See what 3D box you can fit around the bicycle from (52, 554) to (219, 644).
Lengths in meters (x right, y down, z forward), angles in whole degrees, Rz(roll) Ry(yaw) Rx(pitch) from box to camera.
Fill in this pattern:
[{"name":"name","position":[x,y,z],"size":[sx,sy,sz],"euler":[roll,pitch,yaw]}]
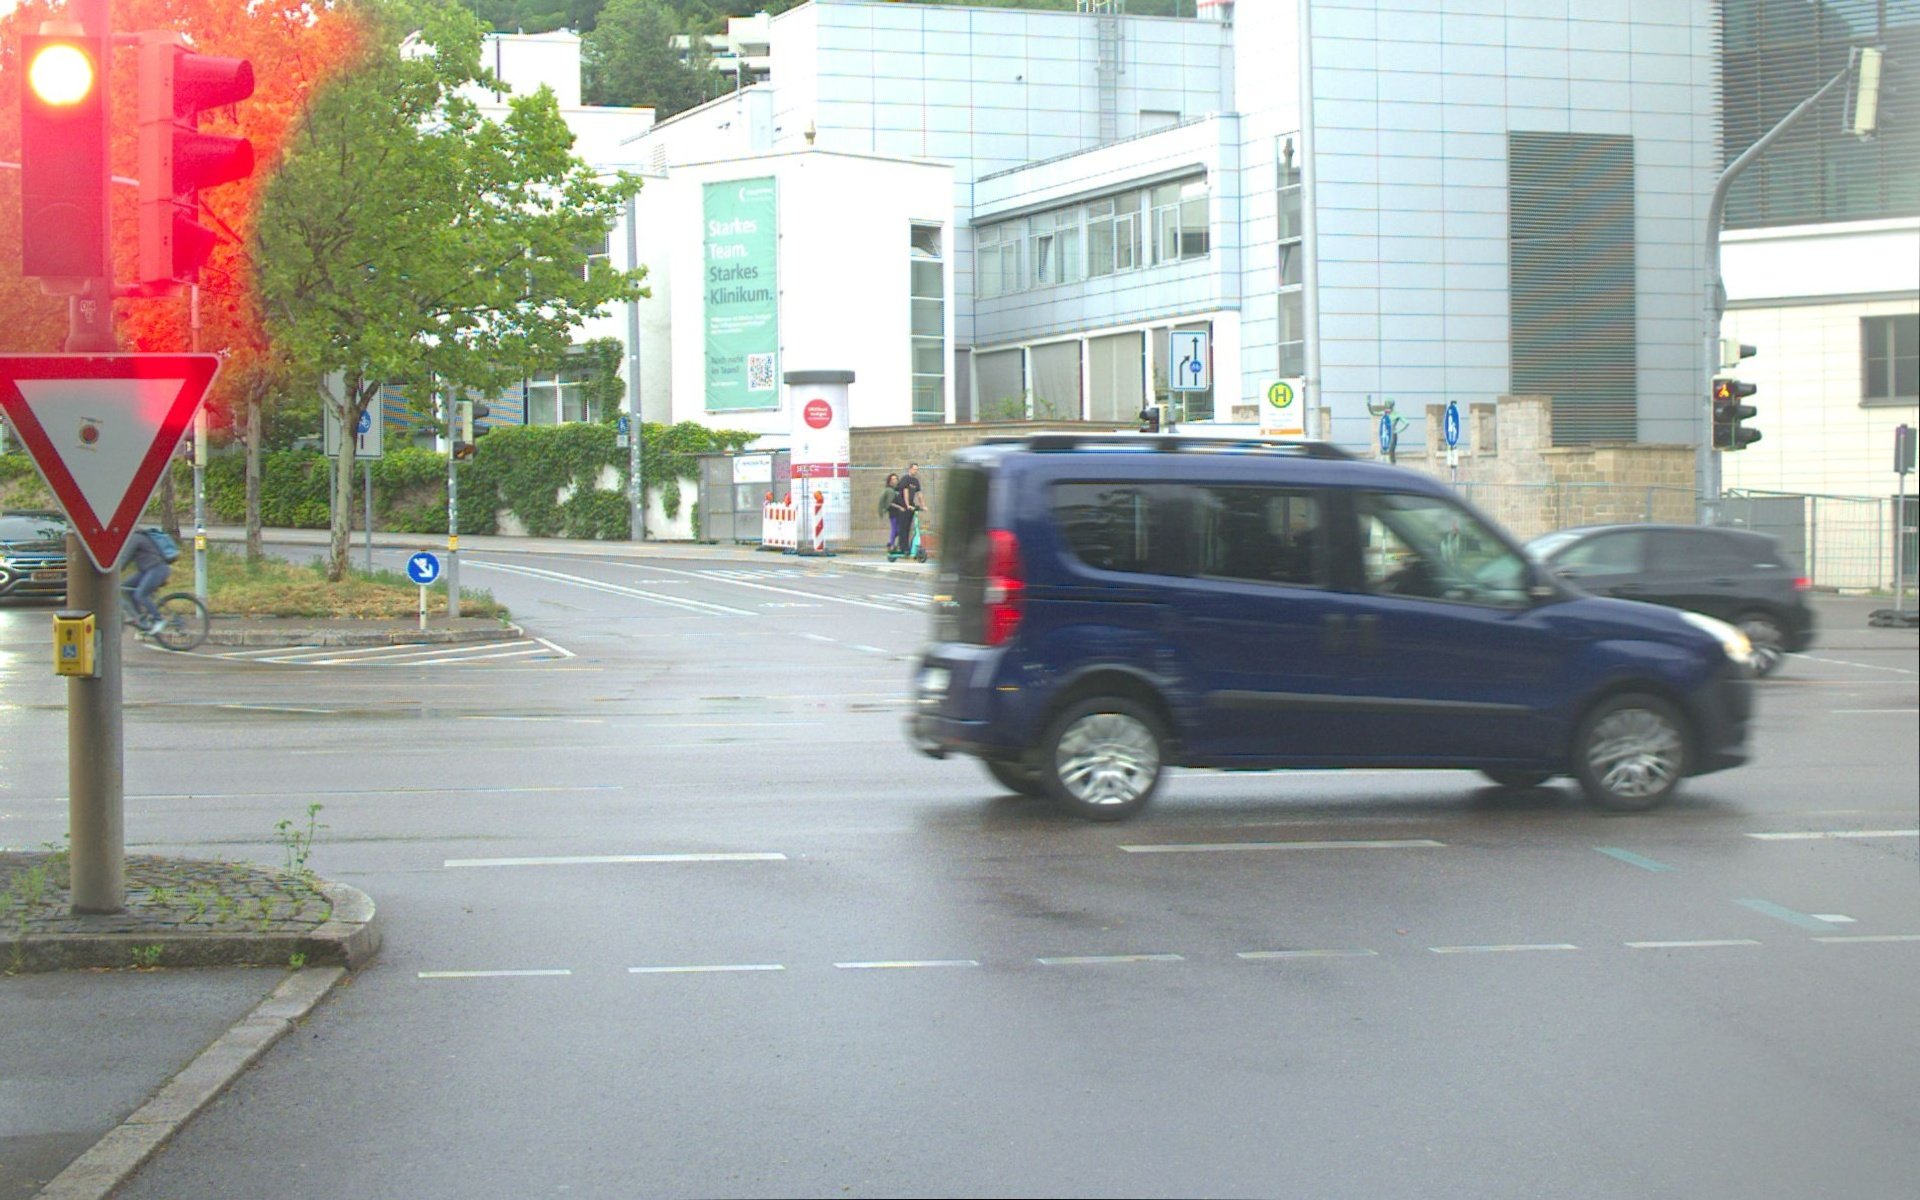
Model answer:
[{"name":"bicycle","position":[-9.808,-0.016,40.921],"size":[1.815,1.053,0.648],"euler":[0,1,-31]}]

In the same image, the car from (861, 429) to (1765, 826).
[{"name":"car","position":[1.765,0.089,17.778],"size":[4.294,1.901,1.798],"euler":[0,2,-12]}]

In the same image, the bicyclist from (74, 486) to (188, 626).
[{"name":"bicyclist","position":[-9.855,-0.516,40.885],"size":[1.125,1.627,0.702],"euler":[1,0,-31]}]

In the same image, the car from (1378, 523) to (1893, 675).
[{"name":"car","position":[6.355,-0.034,32.603],"size":[4.372,1.373,2.001],"euler":[0,2,-7]}]

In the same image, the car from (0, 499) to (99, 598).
[{"name":"car","position":[-15.664,-0.894,57.739],"size":[1.788,1.579,4.001],"euler":[-1,2,-22]}]

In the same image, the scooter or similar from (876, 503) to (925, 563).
[{"name":"scooter or similar","position":[-1.249,-1.391,72.158],"size":[0.591,1.234,1.314],"euler":[1,0,-22]}]

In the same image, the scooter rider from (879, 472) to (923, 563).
[{"name":"scooter rider","position":[-1.233,-1.730,72.173],"size":[0.723,1.877,0.632],"euler":[1,0,-20]}]
